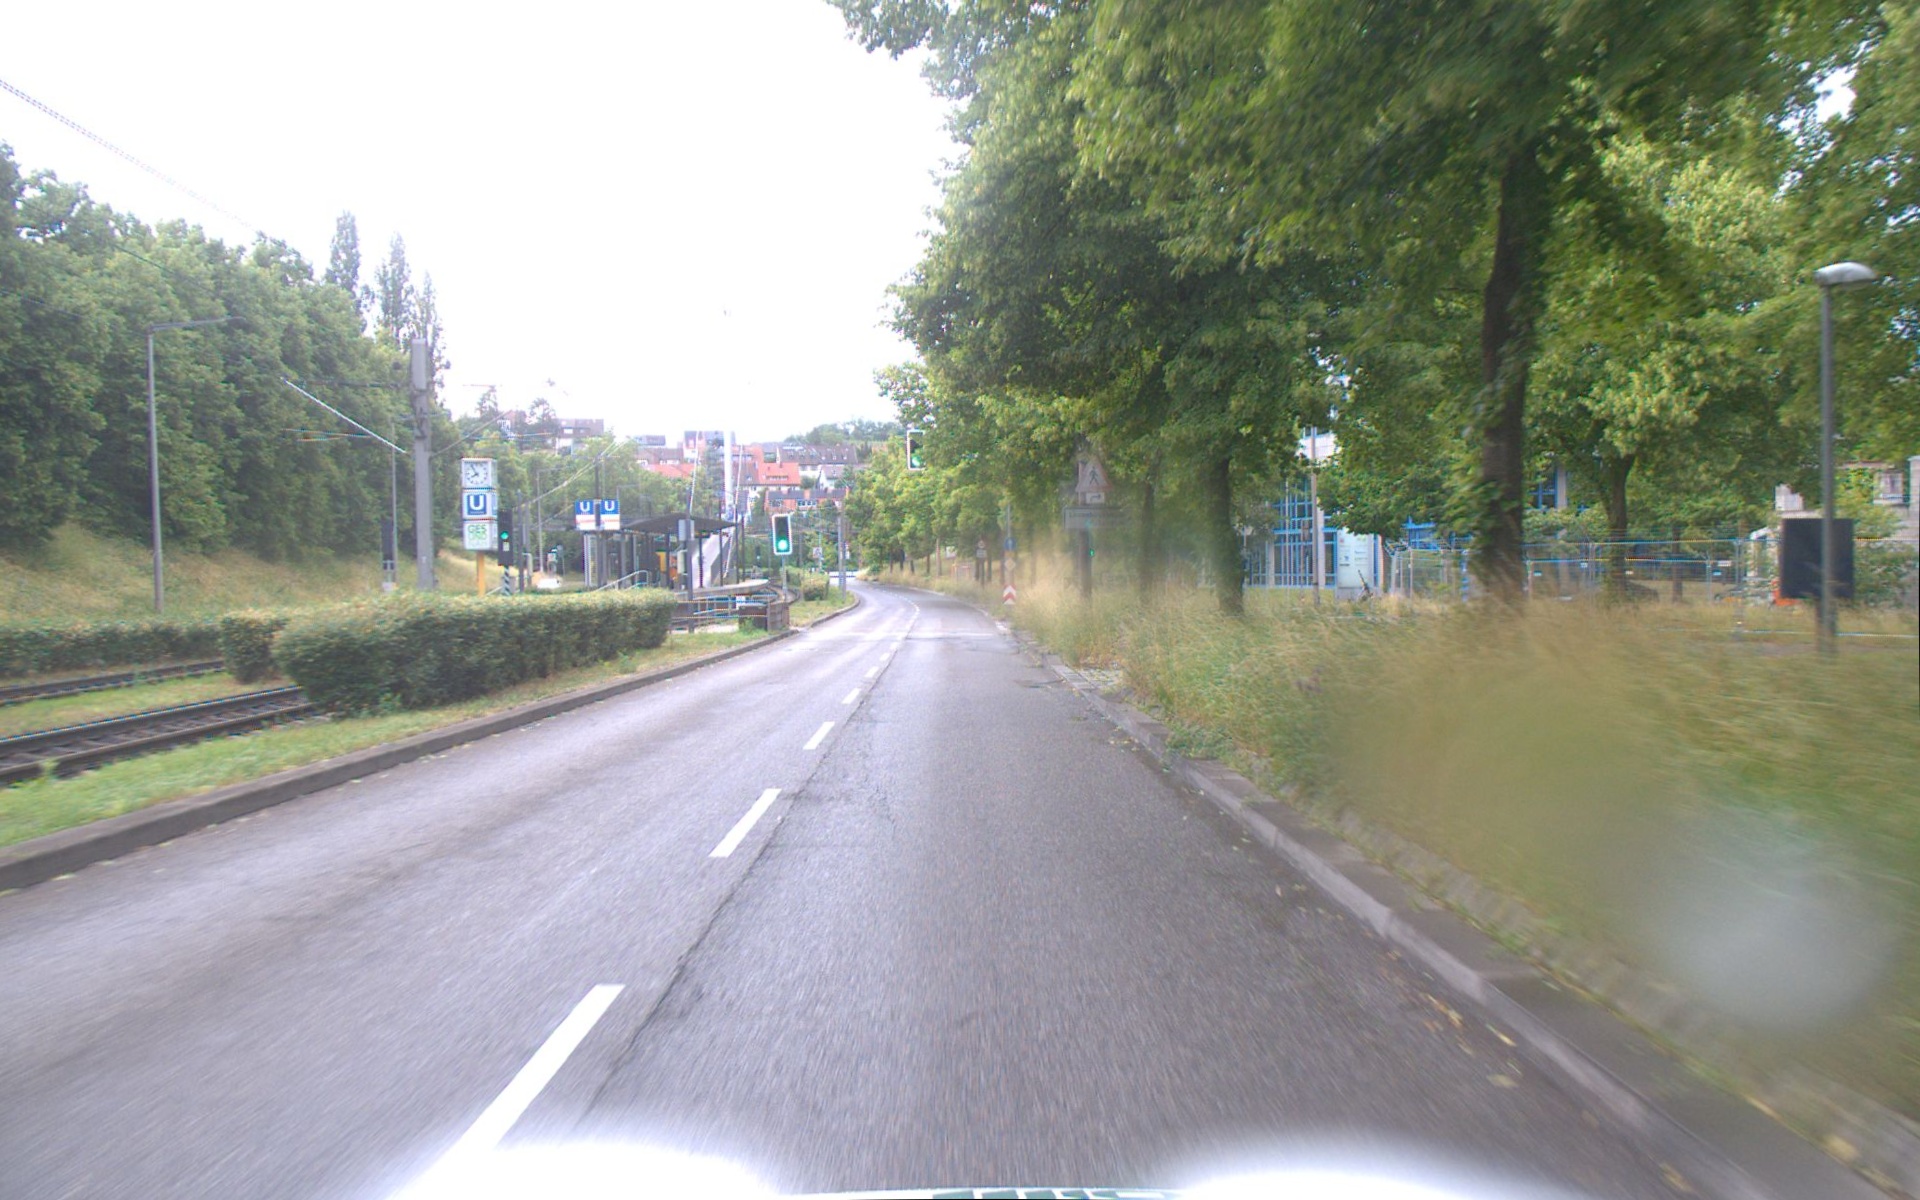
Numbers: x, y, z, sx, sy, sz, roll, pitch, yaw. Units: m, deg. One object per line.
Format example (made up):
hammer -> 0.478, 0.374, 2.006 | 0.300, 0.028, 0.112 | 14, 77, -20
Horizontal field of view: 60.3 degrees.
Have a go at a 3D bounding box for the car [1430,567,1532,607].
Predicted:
car -> 23.141, -0.582, 73.570 | 4.010, 1.670, 1.759 | -1, 3, 4

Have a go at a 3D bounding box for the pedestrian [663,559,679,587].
pedestrian -> -14.527, -1.359, 83.111 | 0.738, 1.379, 0.691 | 0, 1, -5

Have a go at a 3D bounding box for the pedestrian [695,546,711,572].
pedestrian -> -16.205, -2.565, 104.480 | 0.916, 1.639, 1.026 | 0, 1, -5
